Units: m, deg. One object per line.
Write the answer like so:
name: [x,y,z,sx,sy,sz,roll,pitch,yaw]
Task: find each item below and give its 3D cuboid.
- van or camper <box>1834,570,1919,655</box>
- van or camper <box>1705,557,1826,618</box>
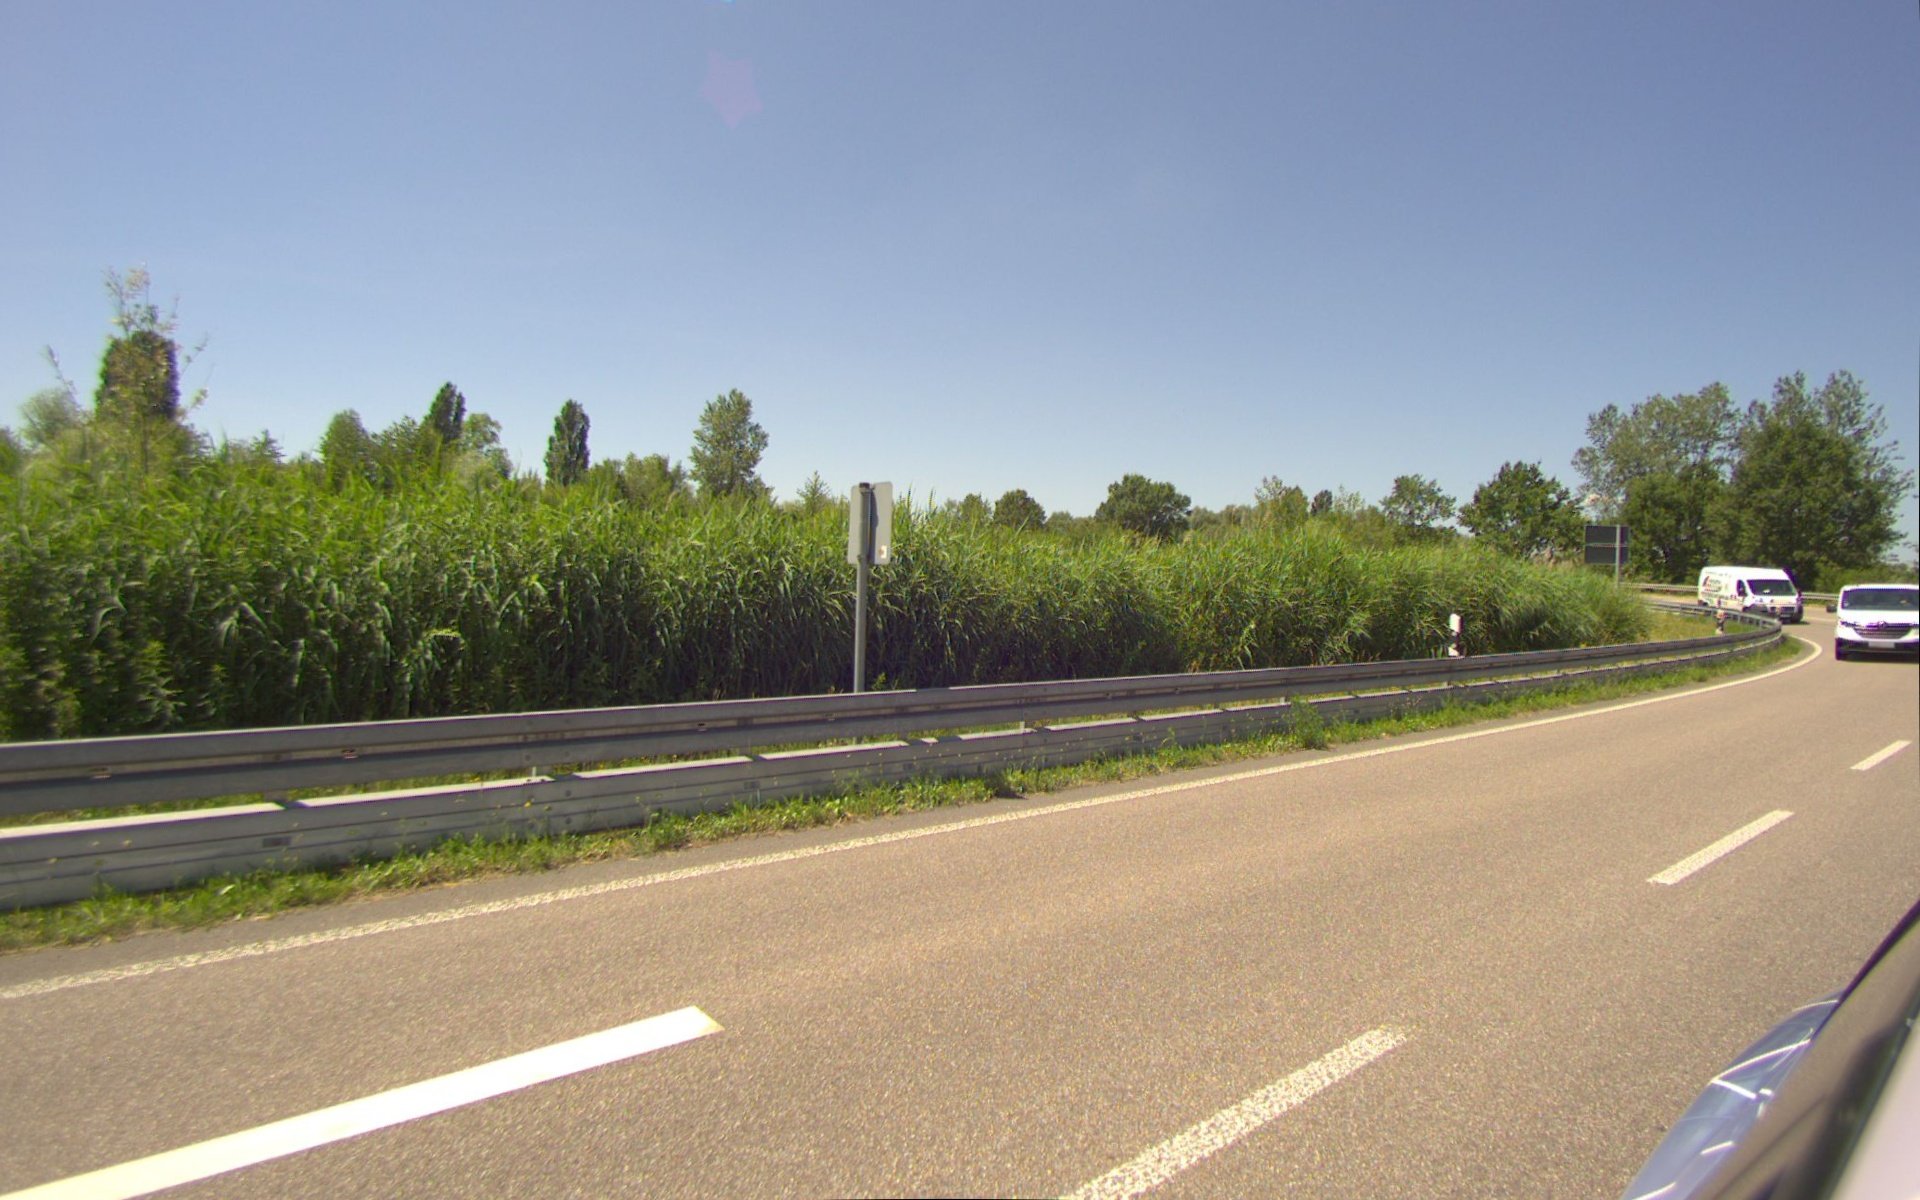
van or camper: [24.967,0.293,26.784,5.352,2.057,2.007,0,0,-41]
van or camper: [37.345,-0.619,47.151,2.045,2.586,6.022,-1,1,14]
